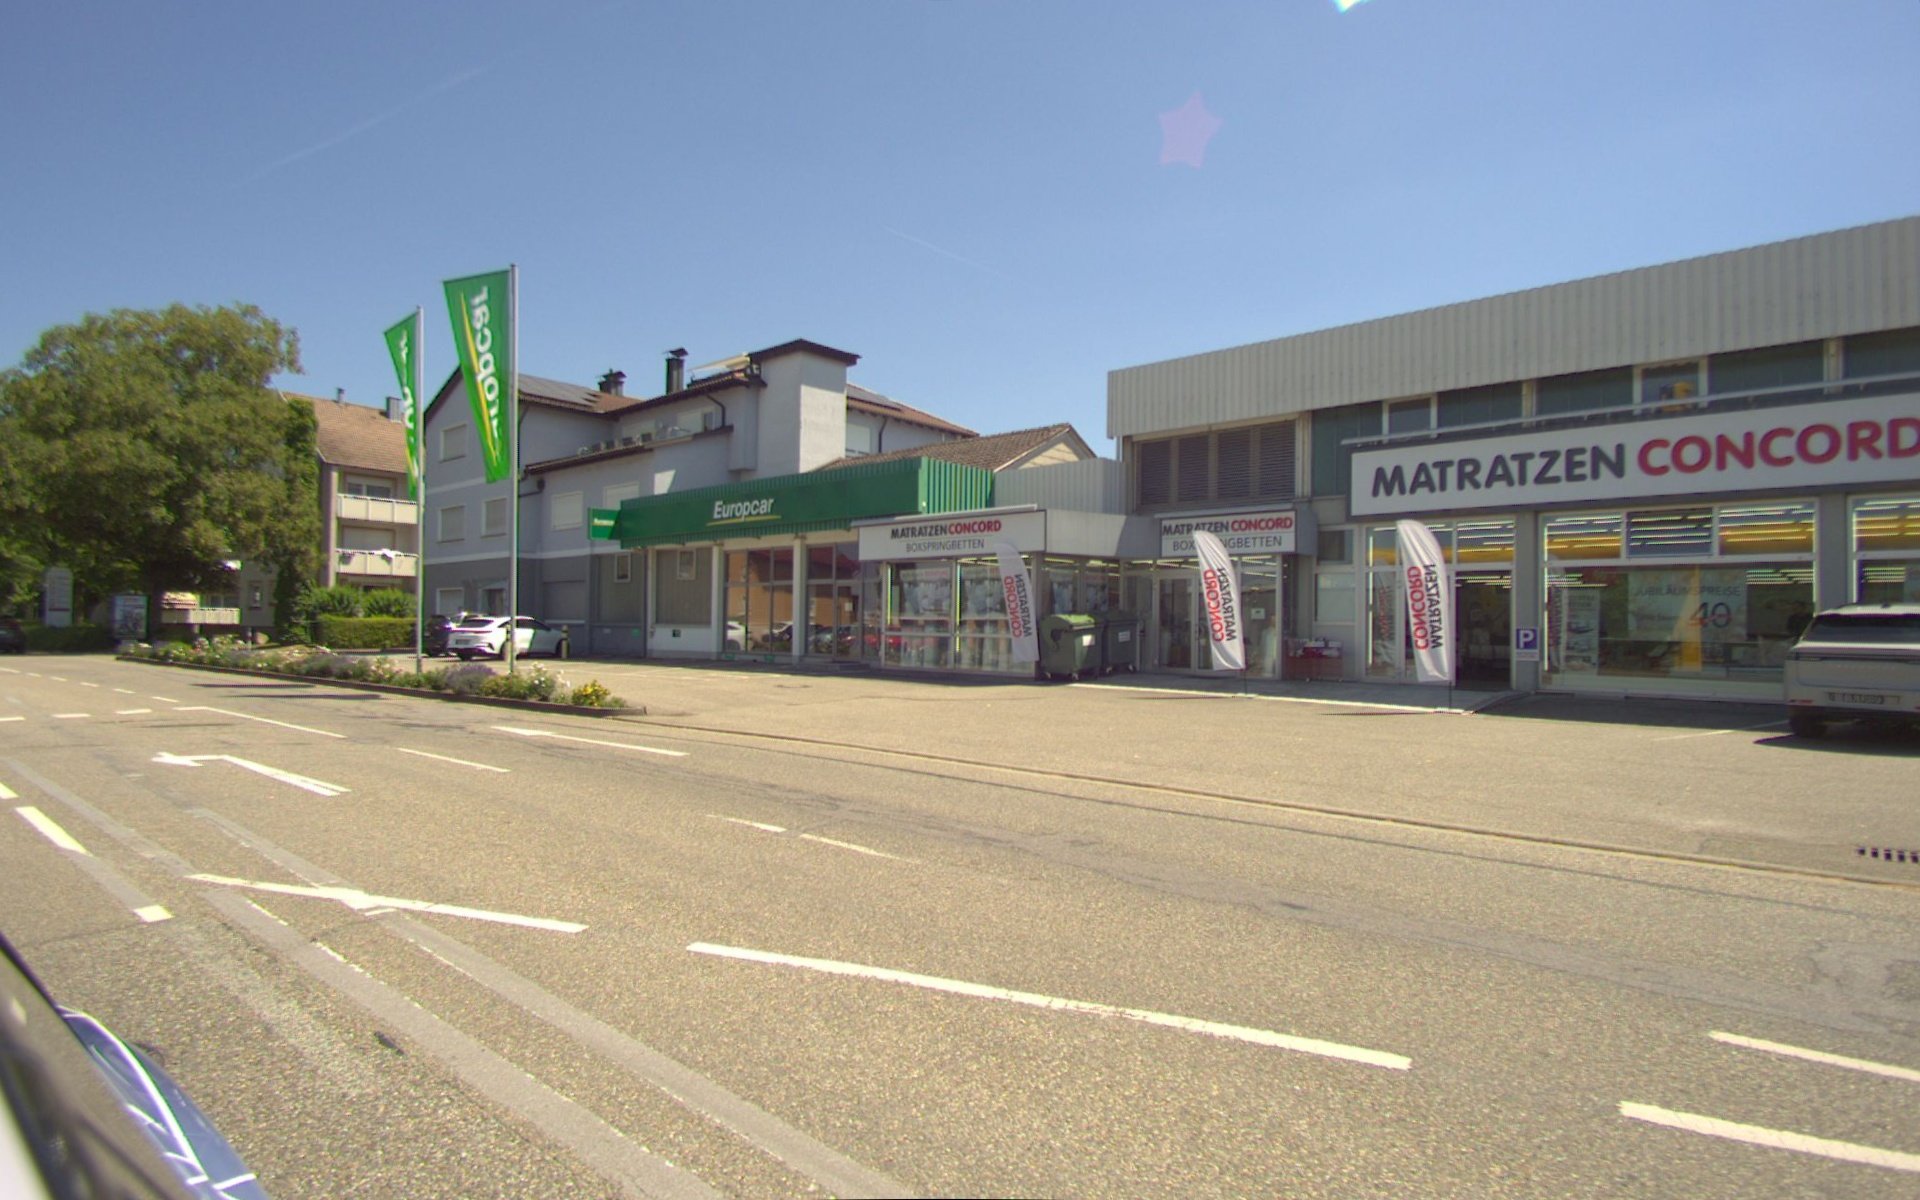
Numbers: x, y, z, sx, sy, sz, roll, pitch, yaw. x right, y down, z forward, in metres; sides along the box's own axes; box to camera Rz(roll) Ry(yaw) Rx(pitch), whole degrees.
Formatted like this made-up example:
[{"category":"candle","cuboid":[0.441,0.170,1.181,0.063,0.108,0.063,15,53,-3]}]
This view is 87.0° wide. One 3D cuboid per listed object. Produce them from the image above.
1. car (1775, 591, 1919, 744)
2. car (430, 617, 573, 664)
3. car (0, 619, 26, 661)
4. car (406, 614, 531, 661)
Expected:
[{"category":"car","cuboid":[12.293,0.769,12.558,4.468,1.676,2.006,1,-2,-32]},{"category":"car","cuboid":[-14.967,1.293,33.334,1.923,1.450,4.330,0,-2,17]},{"category":"car","cuboid":[-37.382,1.521,38.779,4.133,1.539,1.745,-1,-3,39]},{"category":"car","cuboid":[-17.575,1.319,36.263,1.967,1.577,3.525,-1,-2,39]}]
